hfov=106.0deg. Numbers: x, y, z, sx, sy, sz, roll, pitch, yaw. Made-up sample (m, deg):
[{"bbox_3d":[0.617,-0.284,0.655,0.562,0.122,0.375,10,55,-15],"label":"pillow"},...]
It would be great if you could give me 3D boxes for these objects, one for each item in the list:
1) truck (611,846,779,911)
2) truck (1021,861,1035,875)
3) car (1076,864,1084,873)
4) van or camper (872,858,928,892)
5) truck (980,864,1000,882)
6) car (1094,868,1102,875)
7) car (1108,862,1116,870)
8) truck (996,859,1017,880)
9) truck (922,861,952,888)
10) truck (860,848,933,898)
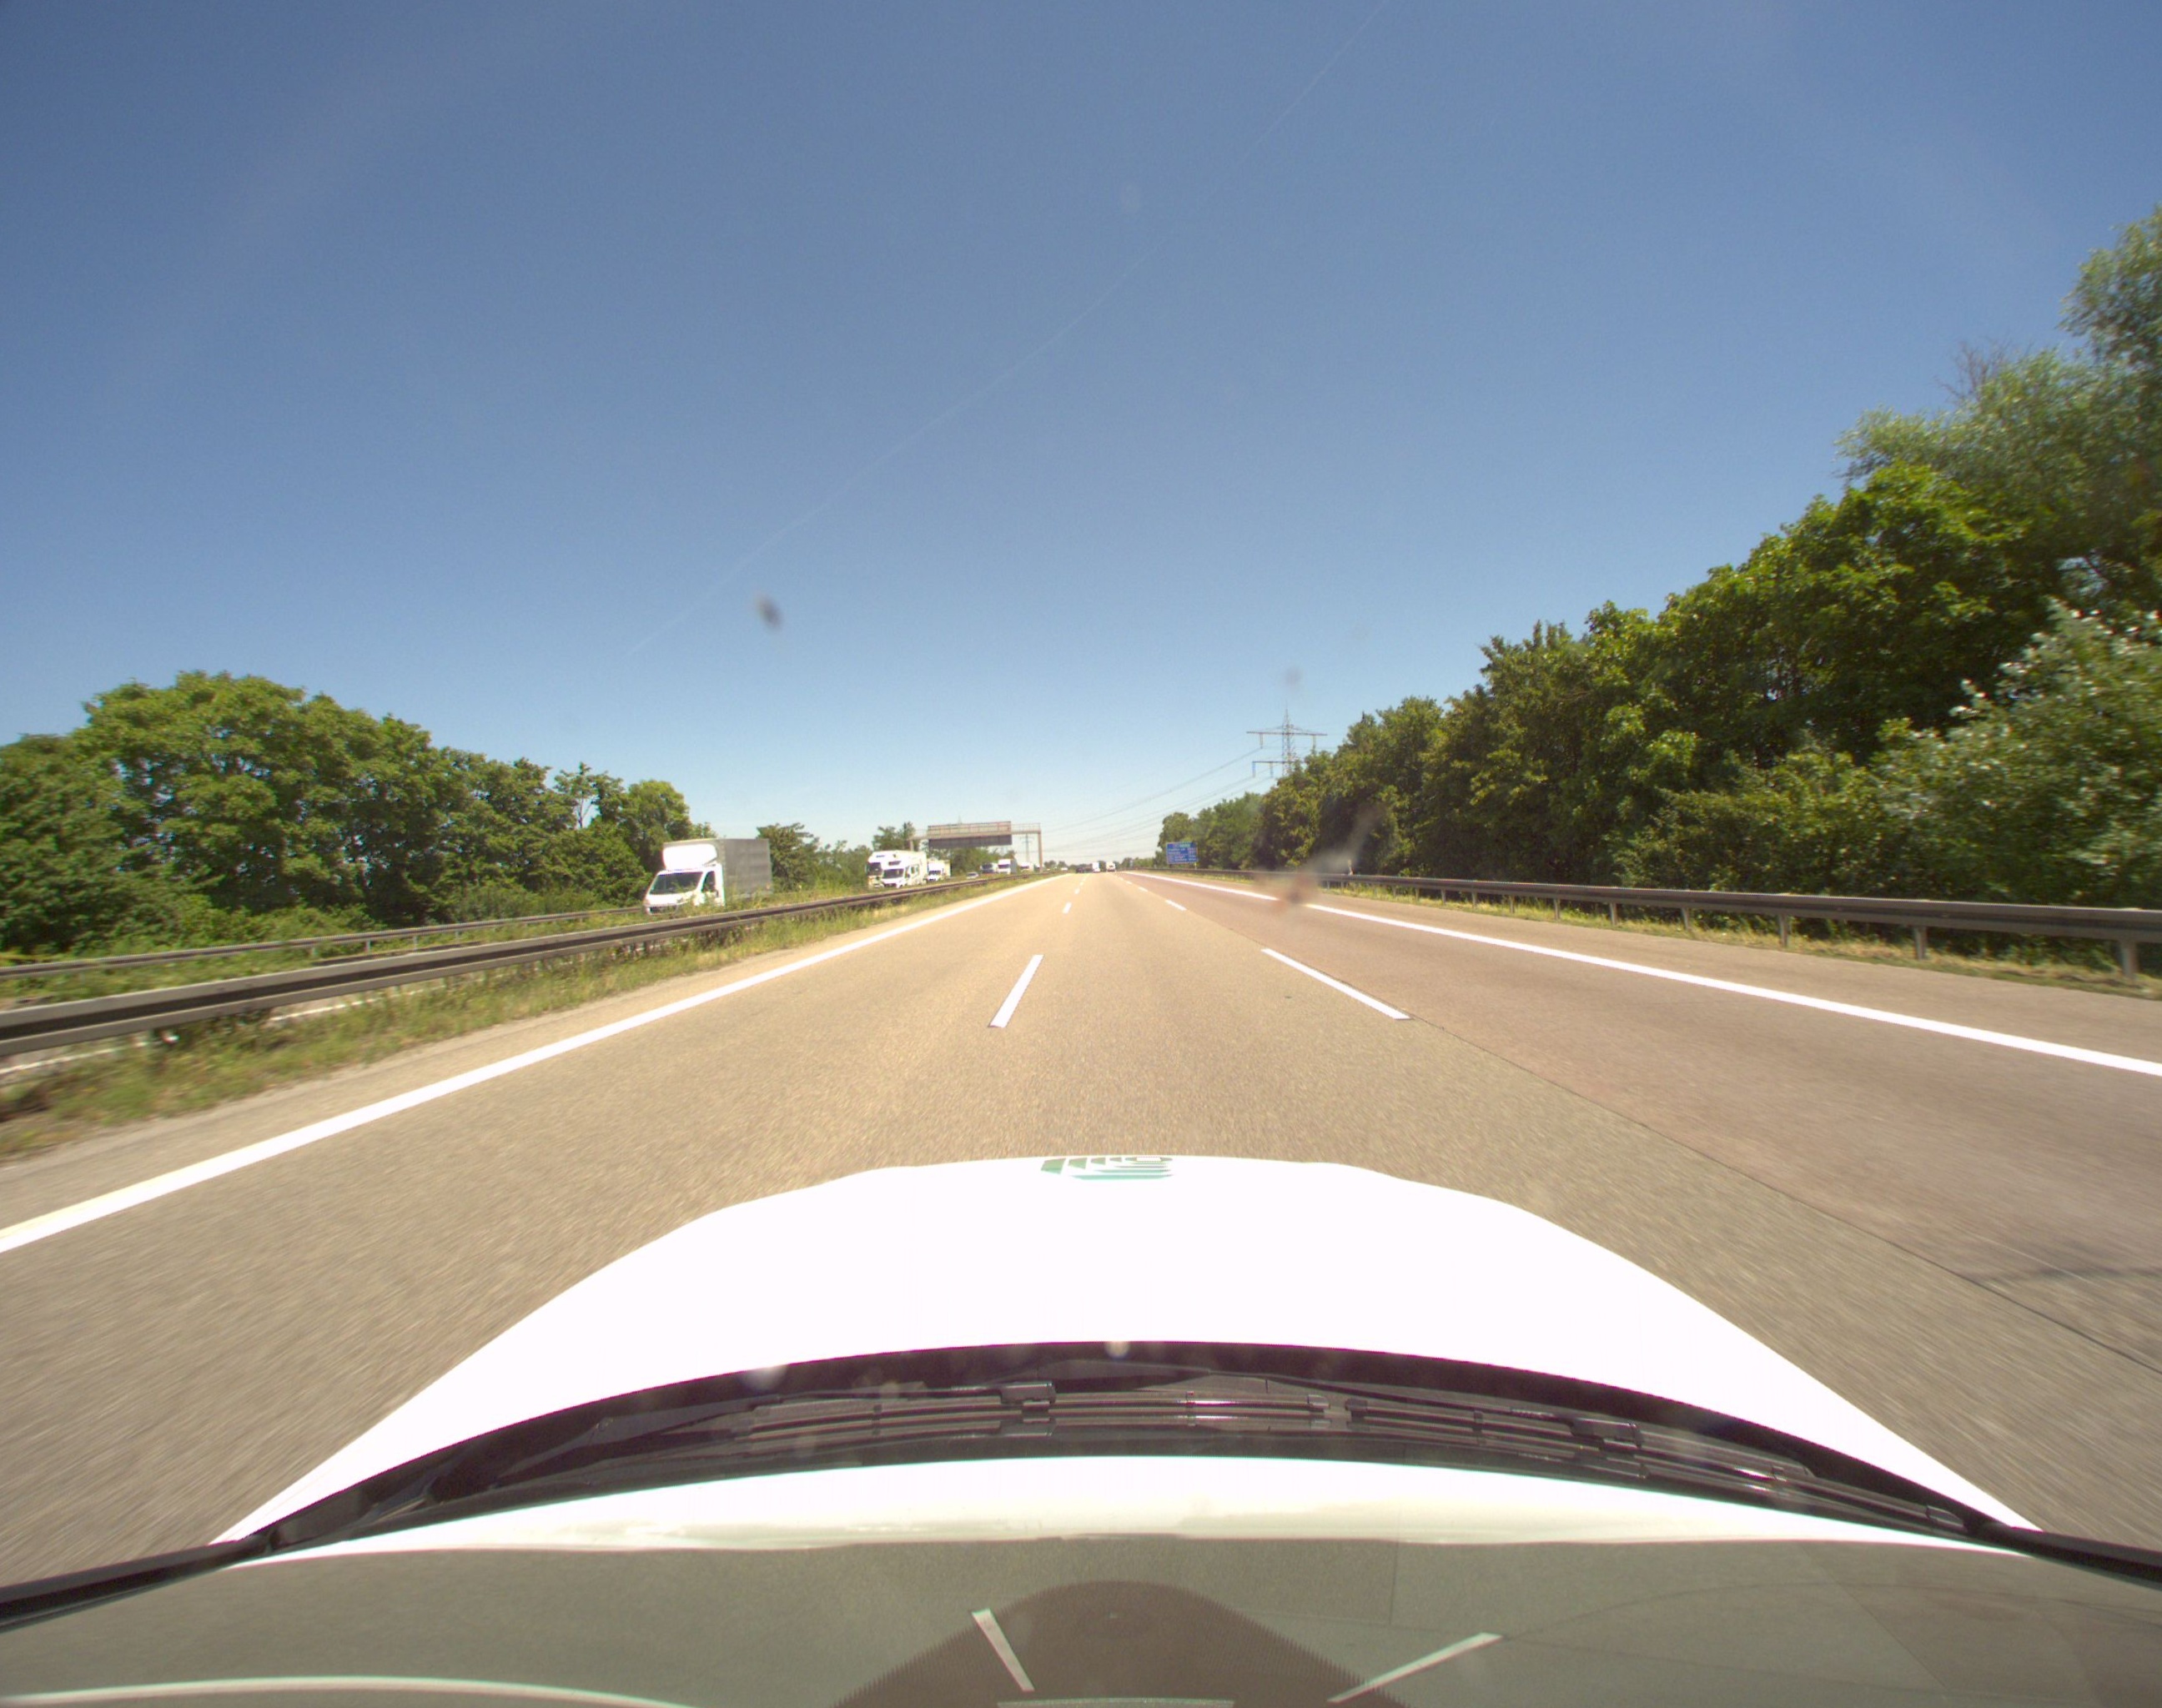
[{"bbox_3d":[-14.438,0.877,31.224,2.718,2.067,7.140,-3,-1,2],"label":"truck"},{"bbox_3d":[-16.173,4.298,249.294,2.951,4.091,17.024,-3,-1,0],"label":"truck"},{"bbox_3d":[-0.213,3.228,185.453,1.785,2.014,3.888,-1,-1,1],"label":"car"},{"bbox_3d":[-14.870,1.681,67.347,2.458,2.560,7.812,-3,-1,2],"label":"van or camper"},{"bbox_3d":[-17.855,3.740,159.921,2.703,3.208,8.925,-2,-1,1],"label":"truck"},{"bbox_3d":[5.152,5.350,246.542,2.167,1.929,4.617,-3,-1,4],"label":"car"},{"bbox_3d":[8.302,3.210,216.234,1.987,2.014,4.000,-3,-1,0],"label":"car"},{"bbox_3d":[-16.937,3.564,186.592,2.703,4.389,17.326,-2,-1,1],"label":"truck"},{"bbox_3d":[-19.252,2.737,109.309,2.361,3.465,7.423,-3,-1,1],"label":"truck"},{"bbox_3d":[-18.967,1.927,85.497,3.205,4.377,17.192,-6,-1,1],"label":"truck"}]
